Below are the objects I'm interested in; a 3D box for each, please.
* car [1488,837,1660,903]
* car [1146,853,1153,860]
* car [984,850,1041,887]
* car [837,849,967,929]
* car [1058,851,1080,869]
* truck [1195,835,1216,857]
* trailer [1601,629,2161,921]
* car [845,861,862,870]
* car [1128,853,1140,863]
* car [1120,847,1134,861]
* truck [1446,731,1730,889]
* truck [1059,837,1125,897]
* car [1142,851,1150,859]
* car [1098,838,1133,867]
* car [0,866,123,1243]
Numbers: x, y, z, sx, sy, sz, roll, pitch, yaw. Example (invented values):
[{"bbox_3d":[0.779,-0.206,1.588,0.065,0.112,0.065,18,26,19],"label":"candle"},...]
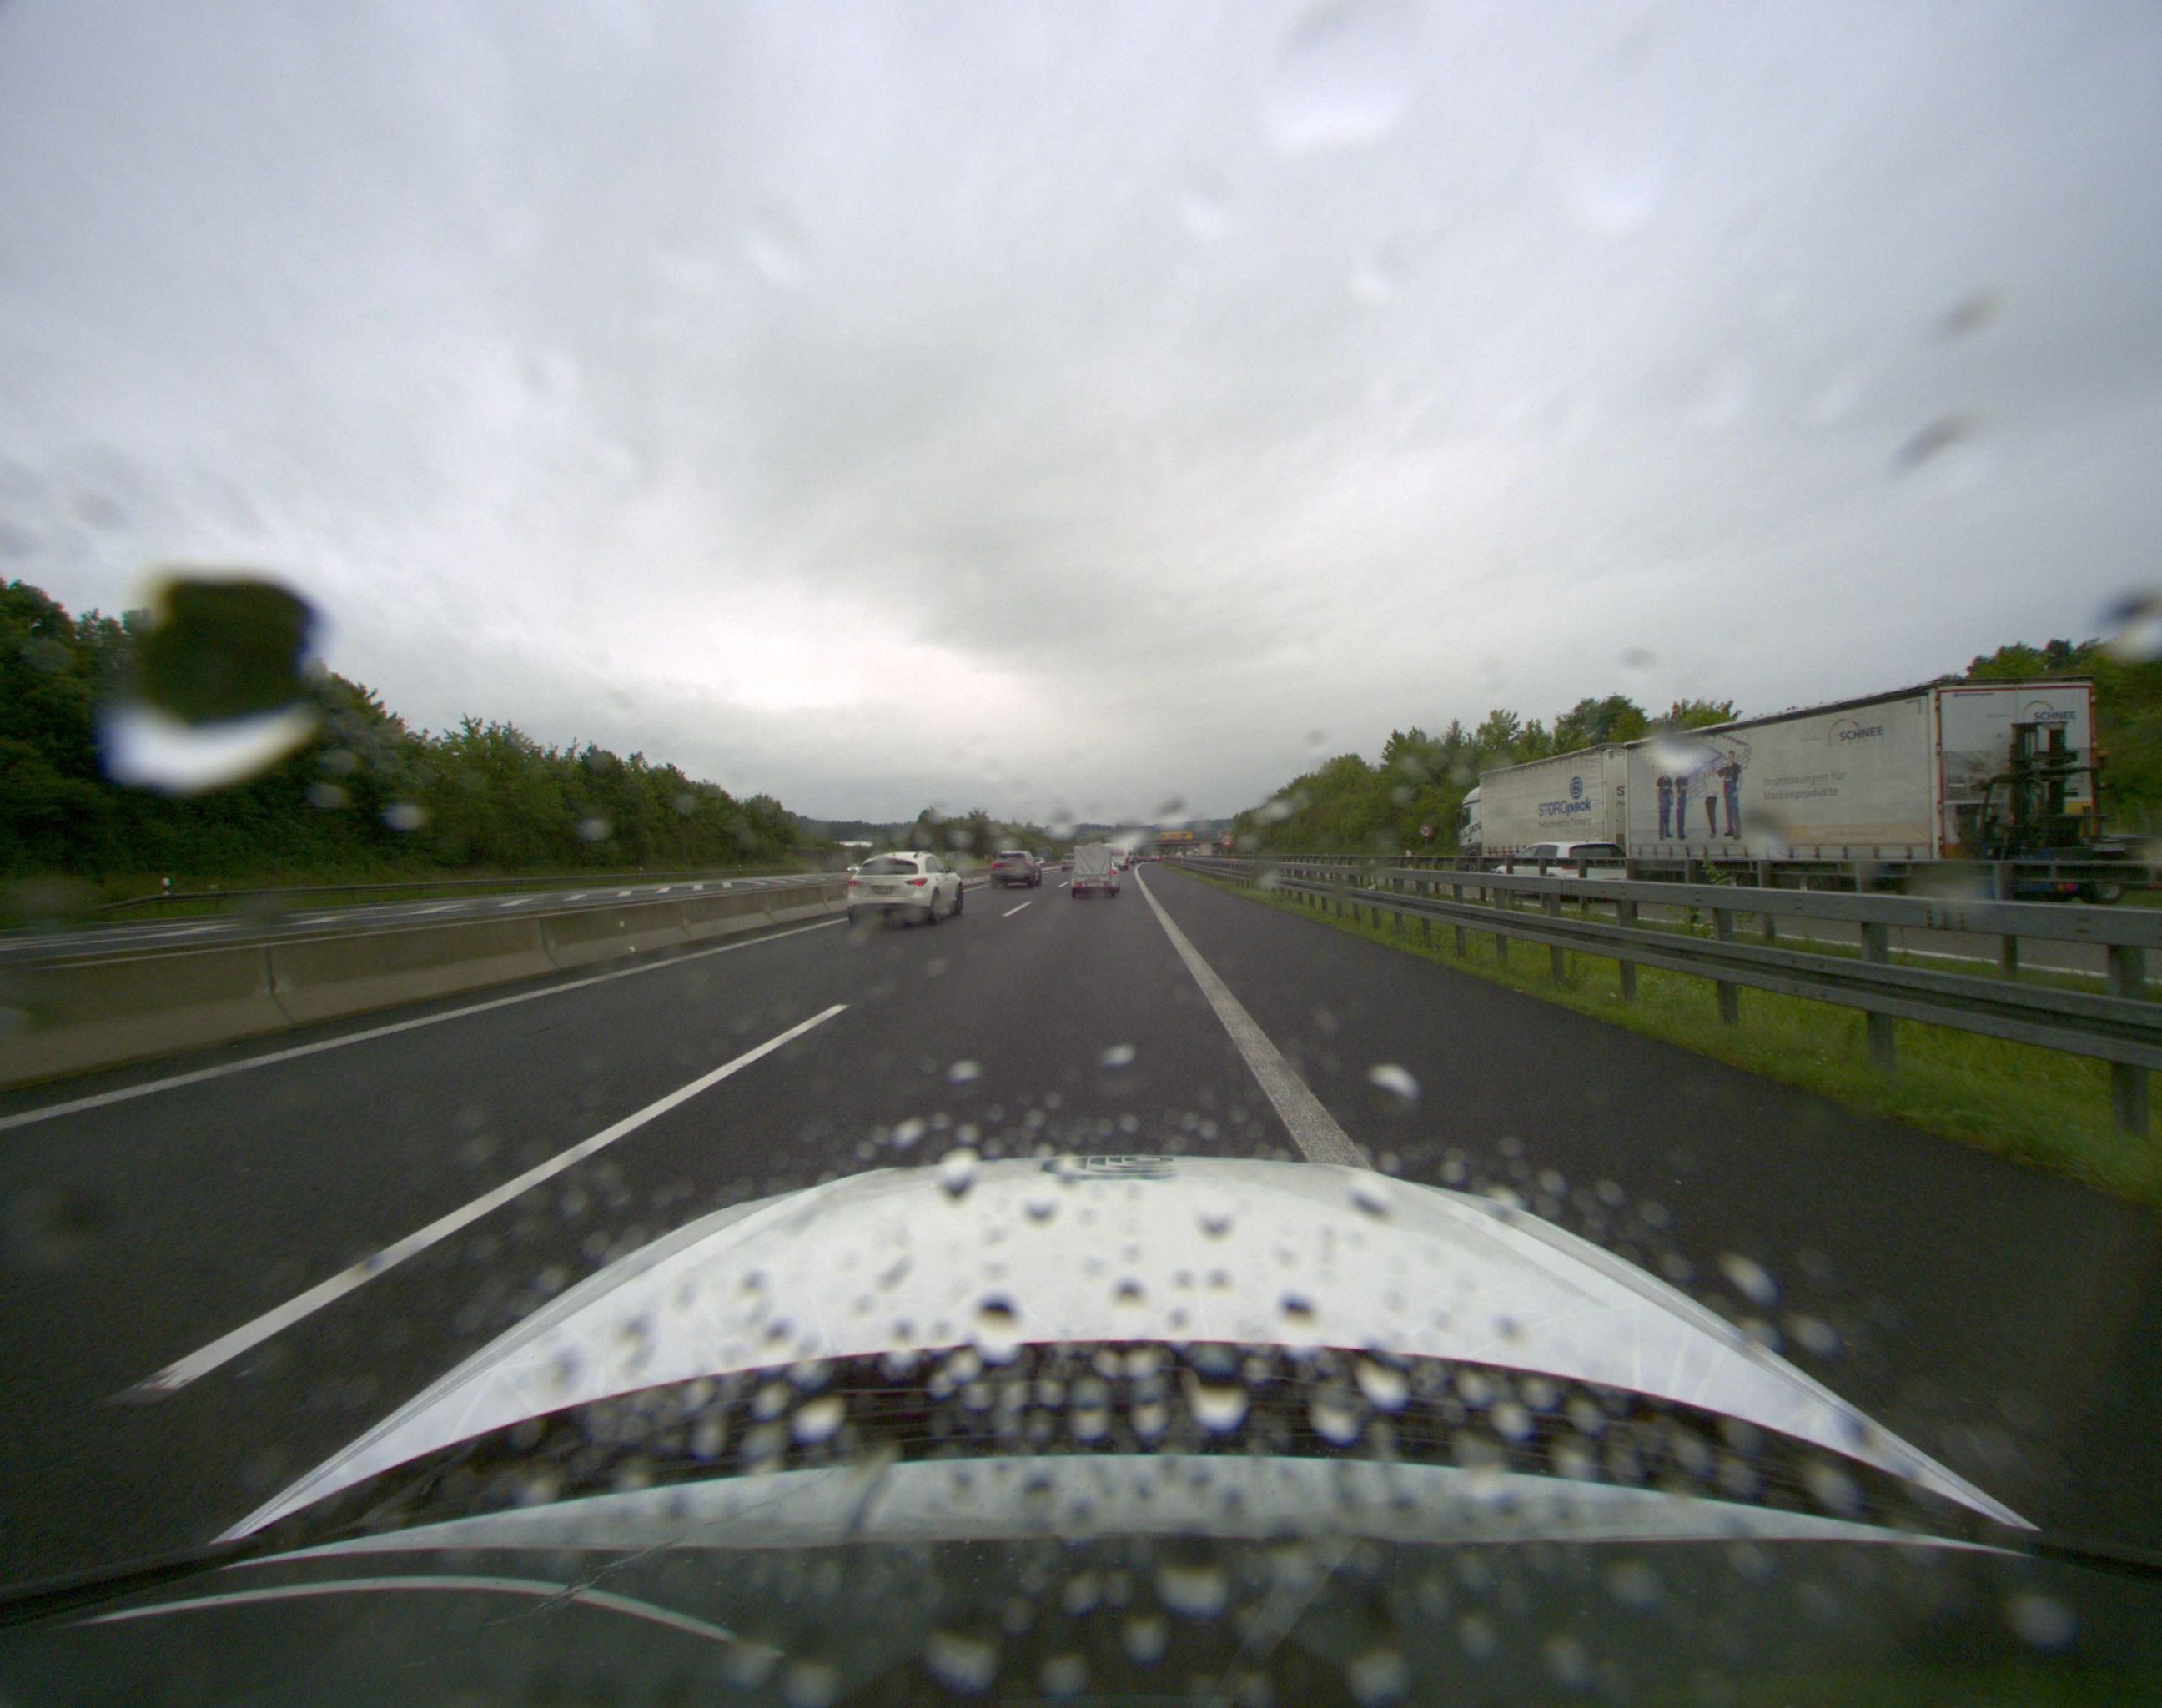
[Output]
[{"bbox_3d":[12.149,0.367,20.428,1.853,1.447,4.159,-1,0,1],"label":"car"},{"bbox_3d":[19.661,0.744,233.753,1.983,1.750,4.007,0,0,6],"label":"car"},{"bbox_3d":[-3.201,0.665,38.911,2.166,1.631,4.502,-1,0,1],"label":"car"},{"bbox_3d":[-4.111,0.744,19.509,1.969,1.639,4.502,-1,0,1],"label":"car"},{"bbox_3d":[-1.139,0.539,78.819,1.893,1.613,4.020,-1,0,3],"label":"car"},{"bbox_3d":[29.749,-1.819,195.149,4.074,5.103,10.478,-1,0,5],"label":"truck"},{"bbox_3d":[16.010,-1.207,17.333,3.424,4.289,10.459,-1,0,2],"label":"trailer"},{"bbox_3d":[-40.353,2.019,144.743,2.177,1.430,4.378,-1,0,-6],"label":"car"},{"bbox_3d":[9.381,0.787,145.022,1.986,1.750,4.001,0,0,1],"label":"car"},{"bbox_3d":[6.996,0.009,123.595,1.986,2.036,4.153,0,0,1],"label":"car"},{"bbox_3d":[16.398,-1.238,27.808,3.424,4.289,10.423,-1,0,2],"label":"truck"},{"bbox_3d":[0.575,0.428,31.327,2.009,1.985,7.222,-1,0,5],"label":"truck"},{"bbox_3d":[16.141,0.272,201.207,1.984,1.750,4.006,0,0,5],"label":"car"},{"bbox_3d":[3.455,-0.159,80.065,3.002,2.616,6.084,-1,0,6],"label":"car"},{"bbox_3d":[-5.339,0.832,1.243,1.893,1.497,4.854,-1,0,2],"label":"car"}]
